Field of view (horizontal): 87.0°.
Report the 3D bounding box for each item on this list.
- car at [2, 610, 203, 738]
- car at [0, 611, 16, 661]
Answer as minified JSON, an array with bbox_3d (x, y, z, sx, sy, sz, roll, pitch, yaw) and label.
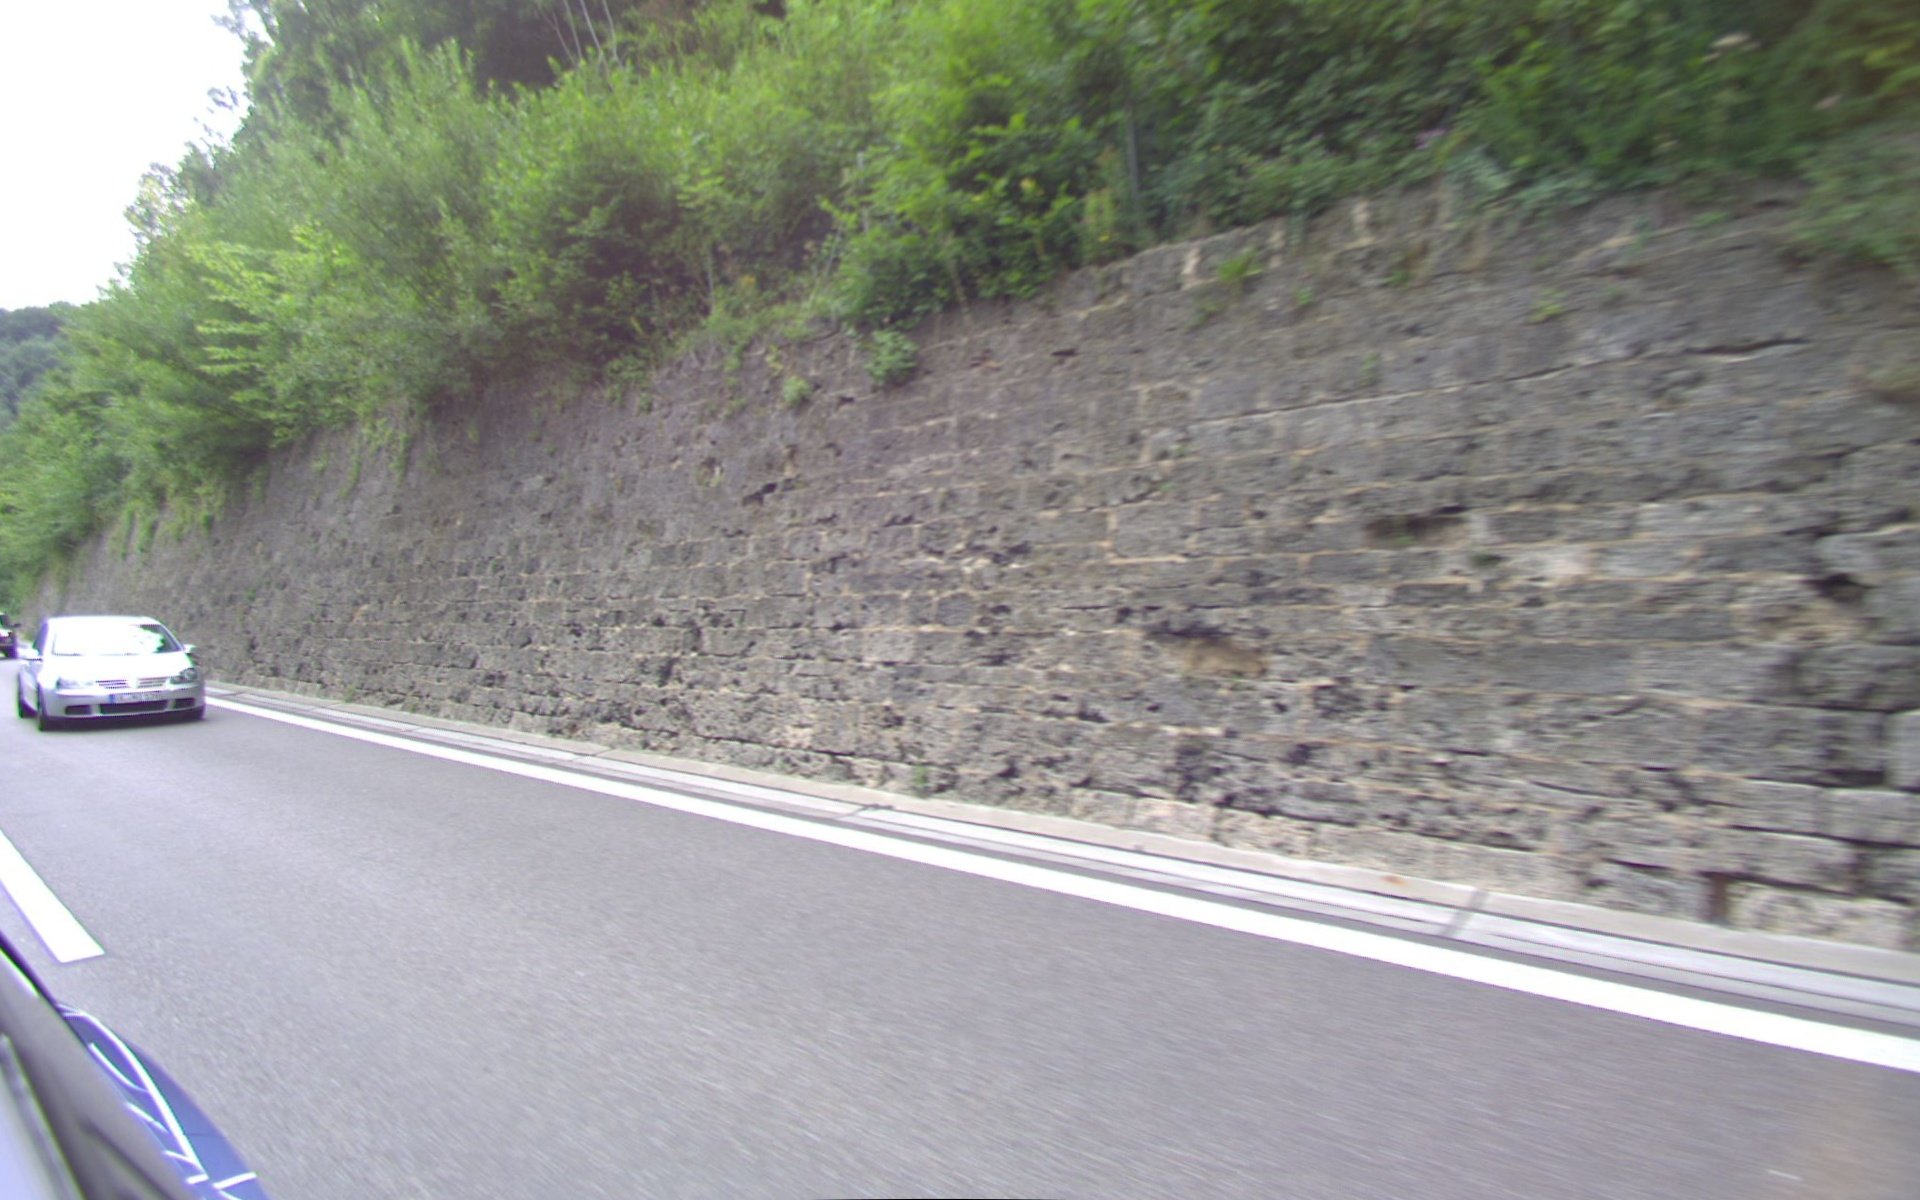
[{"bbox_3d":[-12.404,0.944,14.529,4.583,1.526,1.663,-1,0,43],"label":"car"},{"bbox_3d":[-33.842,1.241,34.755,4.583,1.668,1.789,-1,0,43],"label":"car"}]
